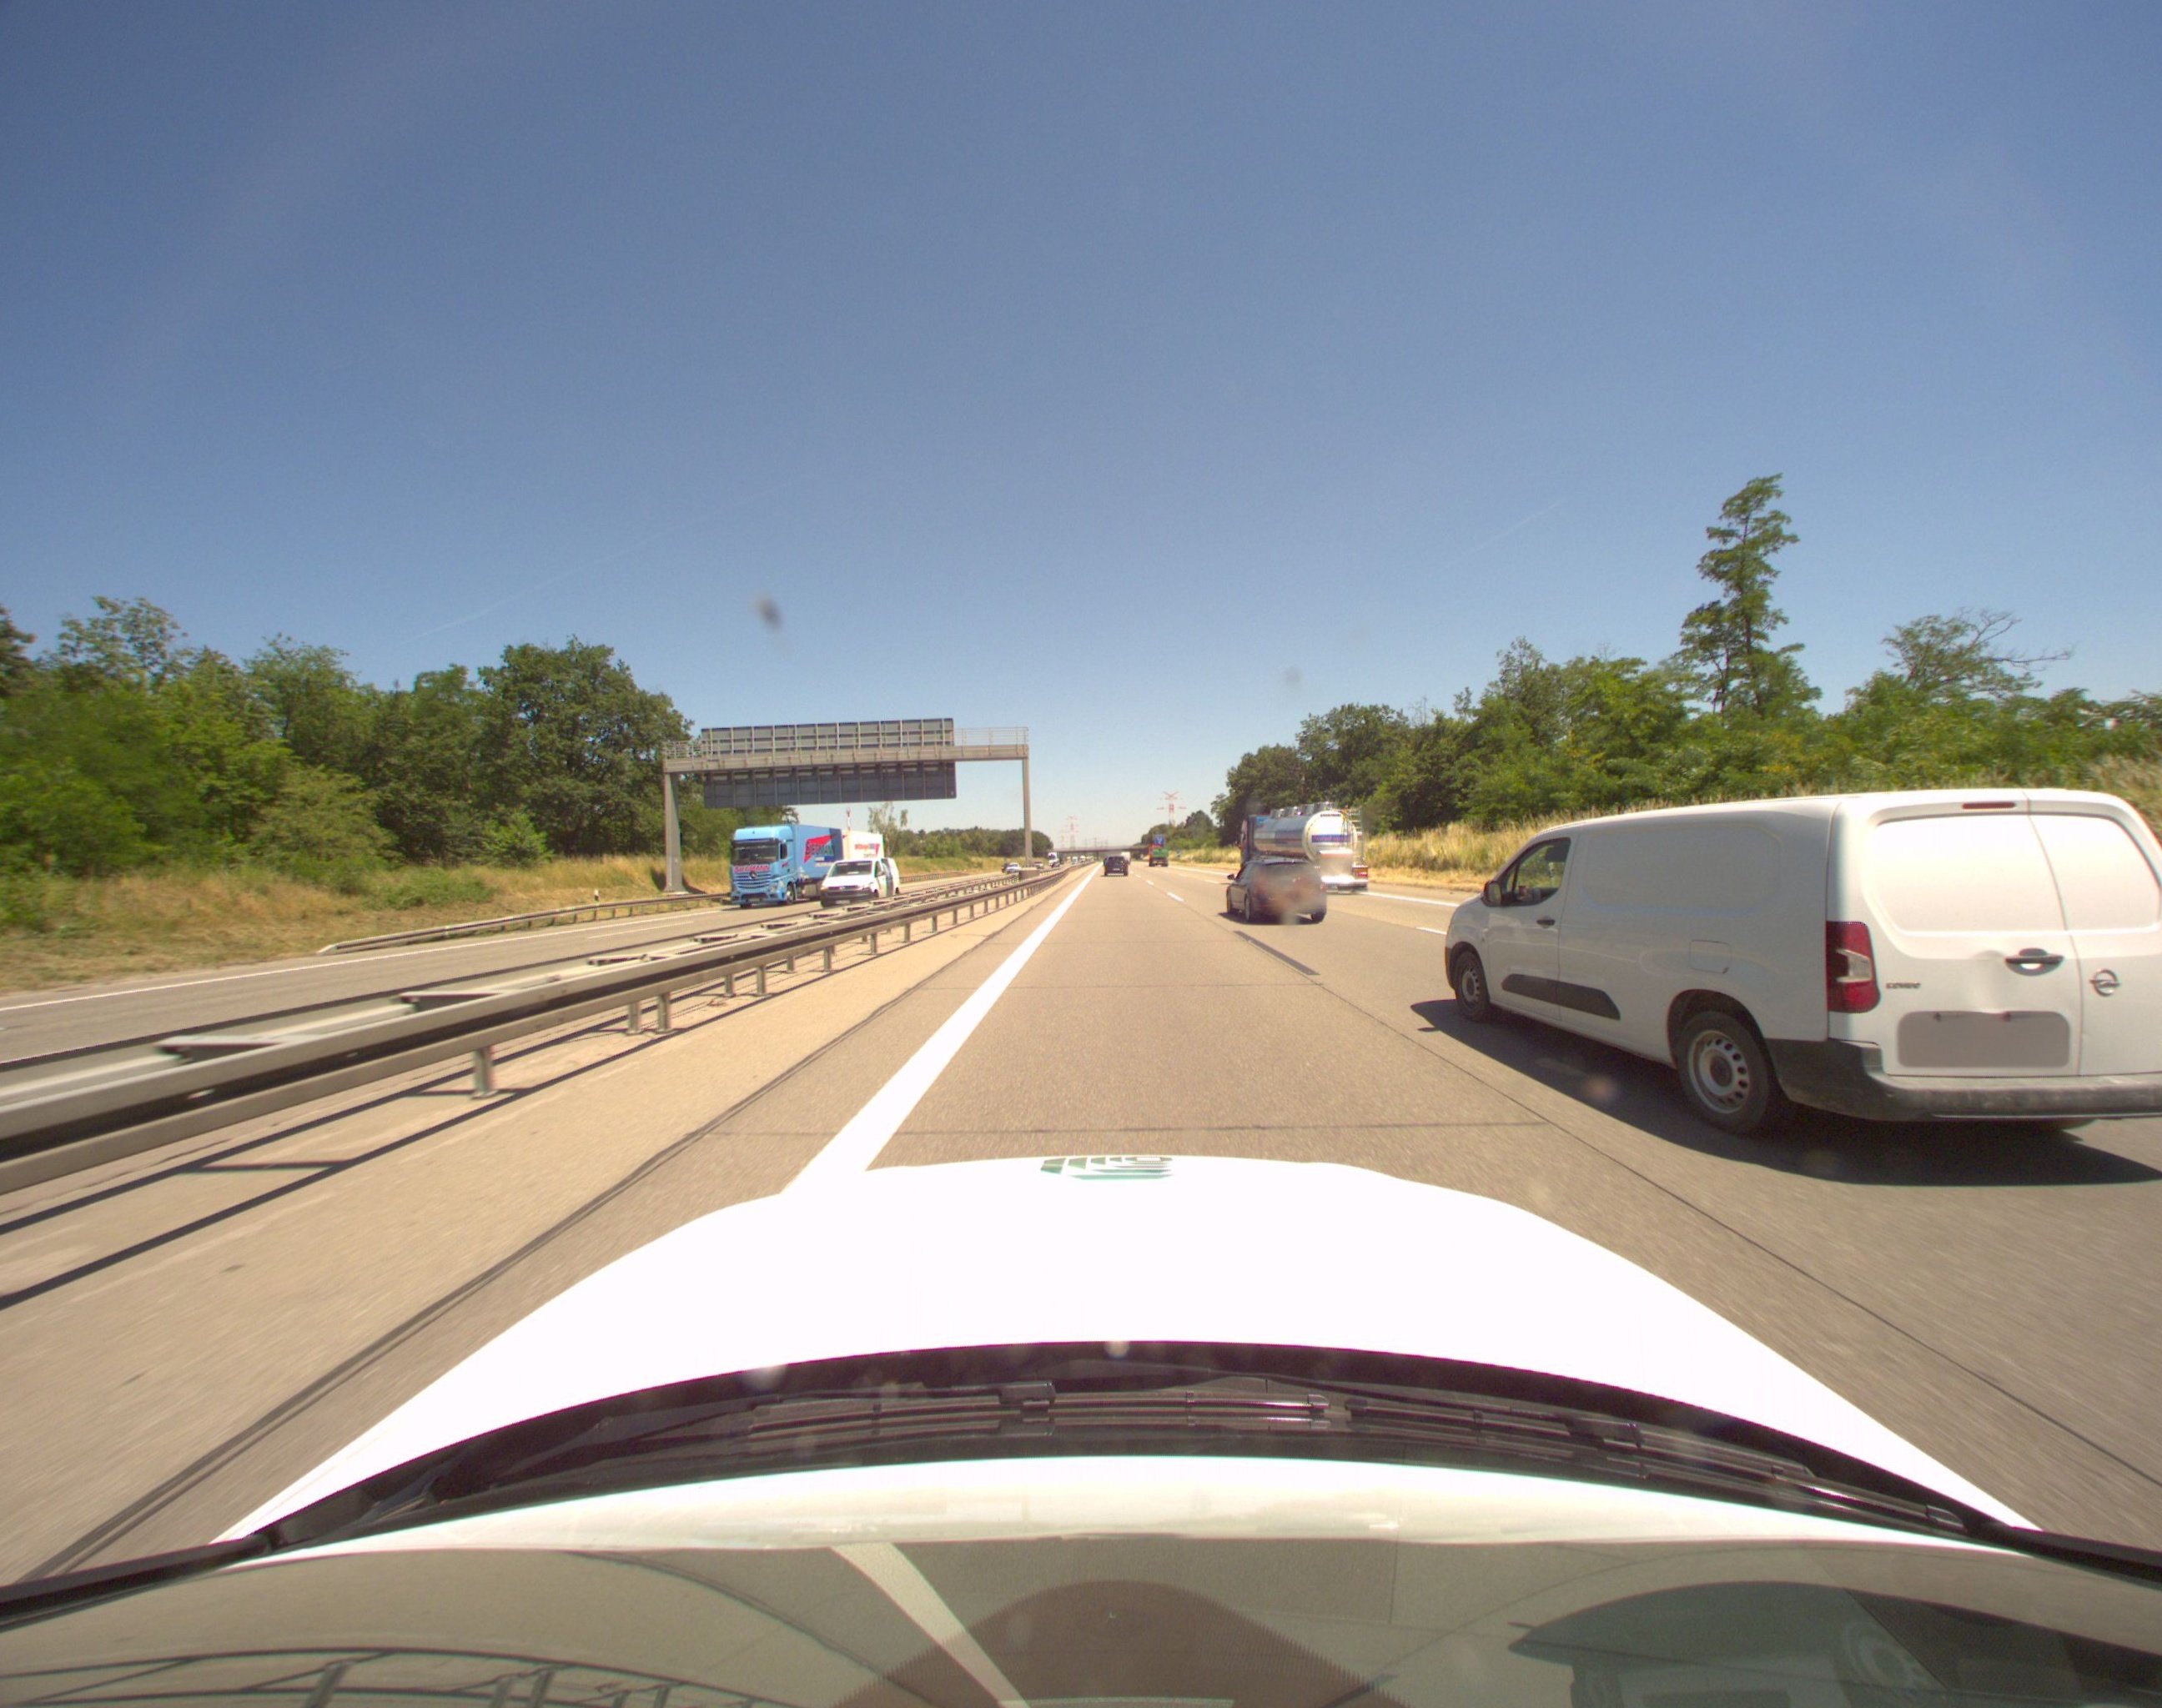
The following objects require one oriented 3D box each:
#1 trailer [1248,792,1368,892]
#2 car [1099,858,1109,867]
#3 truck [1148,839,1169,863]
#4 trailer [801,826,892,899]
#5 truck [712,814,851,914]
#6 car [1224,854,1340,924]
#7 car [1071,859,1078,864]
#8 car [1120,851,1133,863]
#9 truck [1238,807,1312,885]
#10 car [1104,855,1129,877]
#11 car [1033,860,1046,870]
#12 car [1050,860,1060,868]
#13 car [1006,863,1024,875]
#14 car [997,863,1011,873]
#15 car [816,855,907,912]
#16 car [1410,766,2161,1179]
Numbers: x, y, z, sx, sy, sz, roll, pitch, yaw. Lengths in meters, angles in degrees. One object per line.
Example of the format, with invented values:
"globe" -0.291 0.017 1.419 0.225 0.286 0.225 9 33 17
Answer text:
"trailer" 9.765 -0.417 36.566 2.519 3.734 11.553 -1 0 2
"car" 4.491 1.622 157.492 1.787 1.750 4.001 -1 0 2
"truck" 12.988 -0.382 136.895 2.670 3.798 12.483 -1 0 2
"trailer" -15.200 0.538 53.636 3.046 4.283 8.638 -3 0 2
"truck" -15.521 0.476 43.407 3.046 4.558 10.463 -3 0 2
"car" 4.679 0.759 19.567 1.795 1.483 4.272 0 0 1
"car" -1.943 2.484 255.036 1.955 1.429 5.291 -3 0 1
"car" 10.001 0.663 178.246 2.611 2.759 6.099 -1 0 2
"truck" 9.949 -0.383 42.361 2.519 3.734 6.101 -1 0 2
"car" 2.919 0.976 68.169 1.986 1.750 4.001 -1 0 2
"car" -7.635 1.978 151.524 1.955 1.718 5.291 -3 0 1
"car" -5.935 2.268 185.632 1.955 1.525 5.291 -3 0 1
"car" -8.780 1.954 108.681 1.799 1.396 4.484 -3 0 4
"car" -13.028 2.306 137.837 1.825 1.554 4.951 -3 0 1
"car" -8.193 1.042 30.961 1.825 1.854 5.238 -3 0 1
"car" 4.353 0.536 6.084 1.859 1.817 4.941 0 0 1
